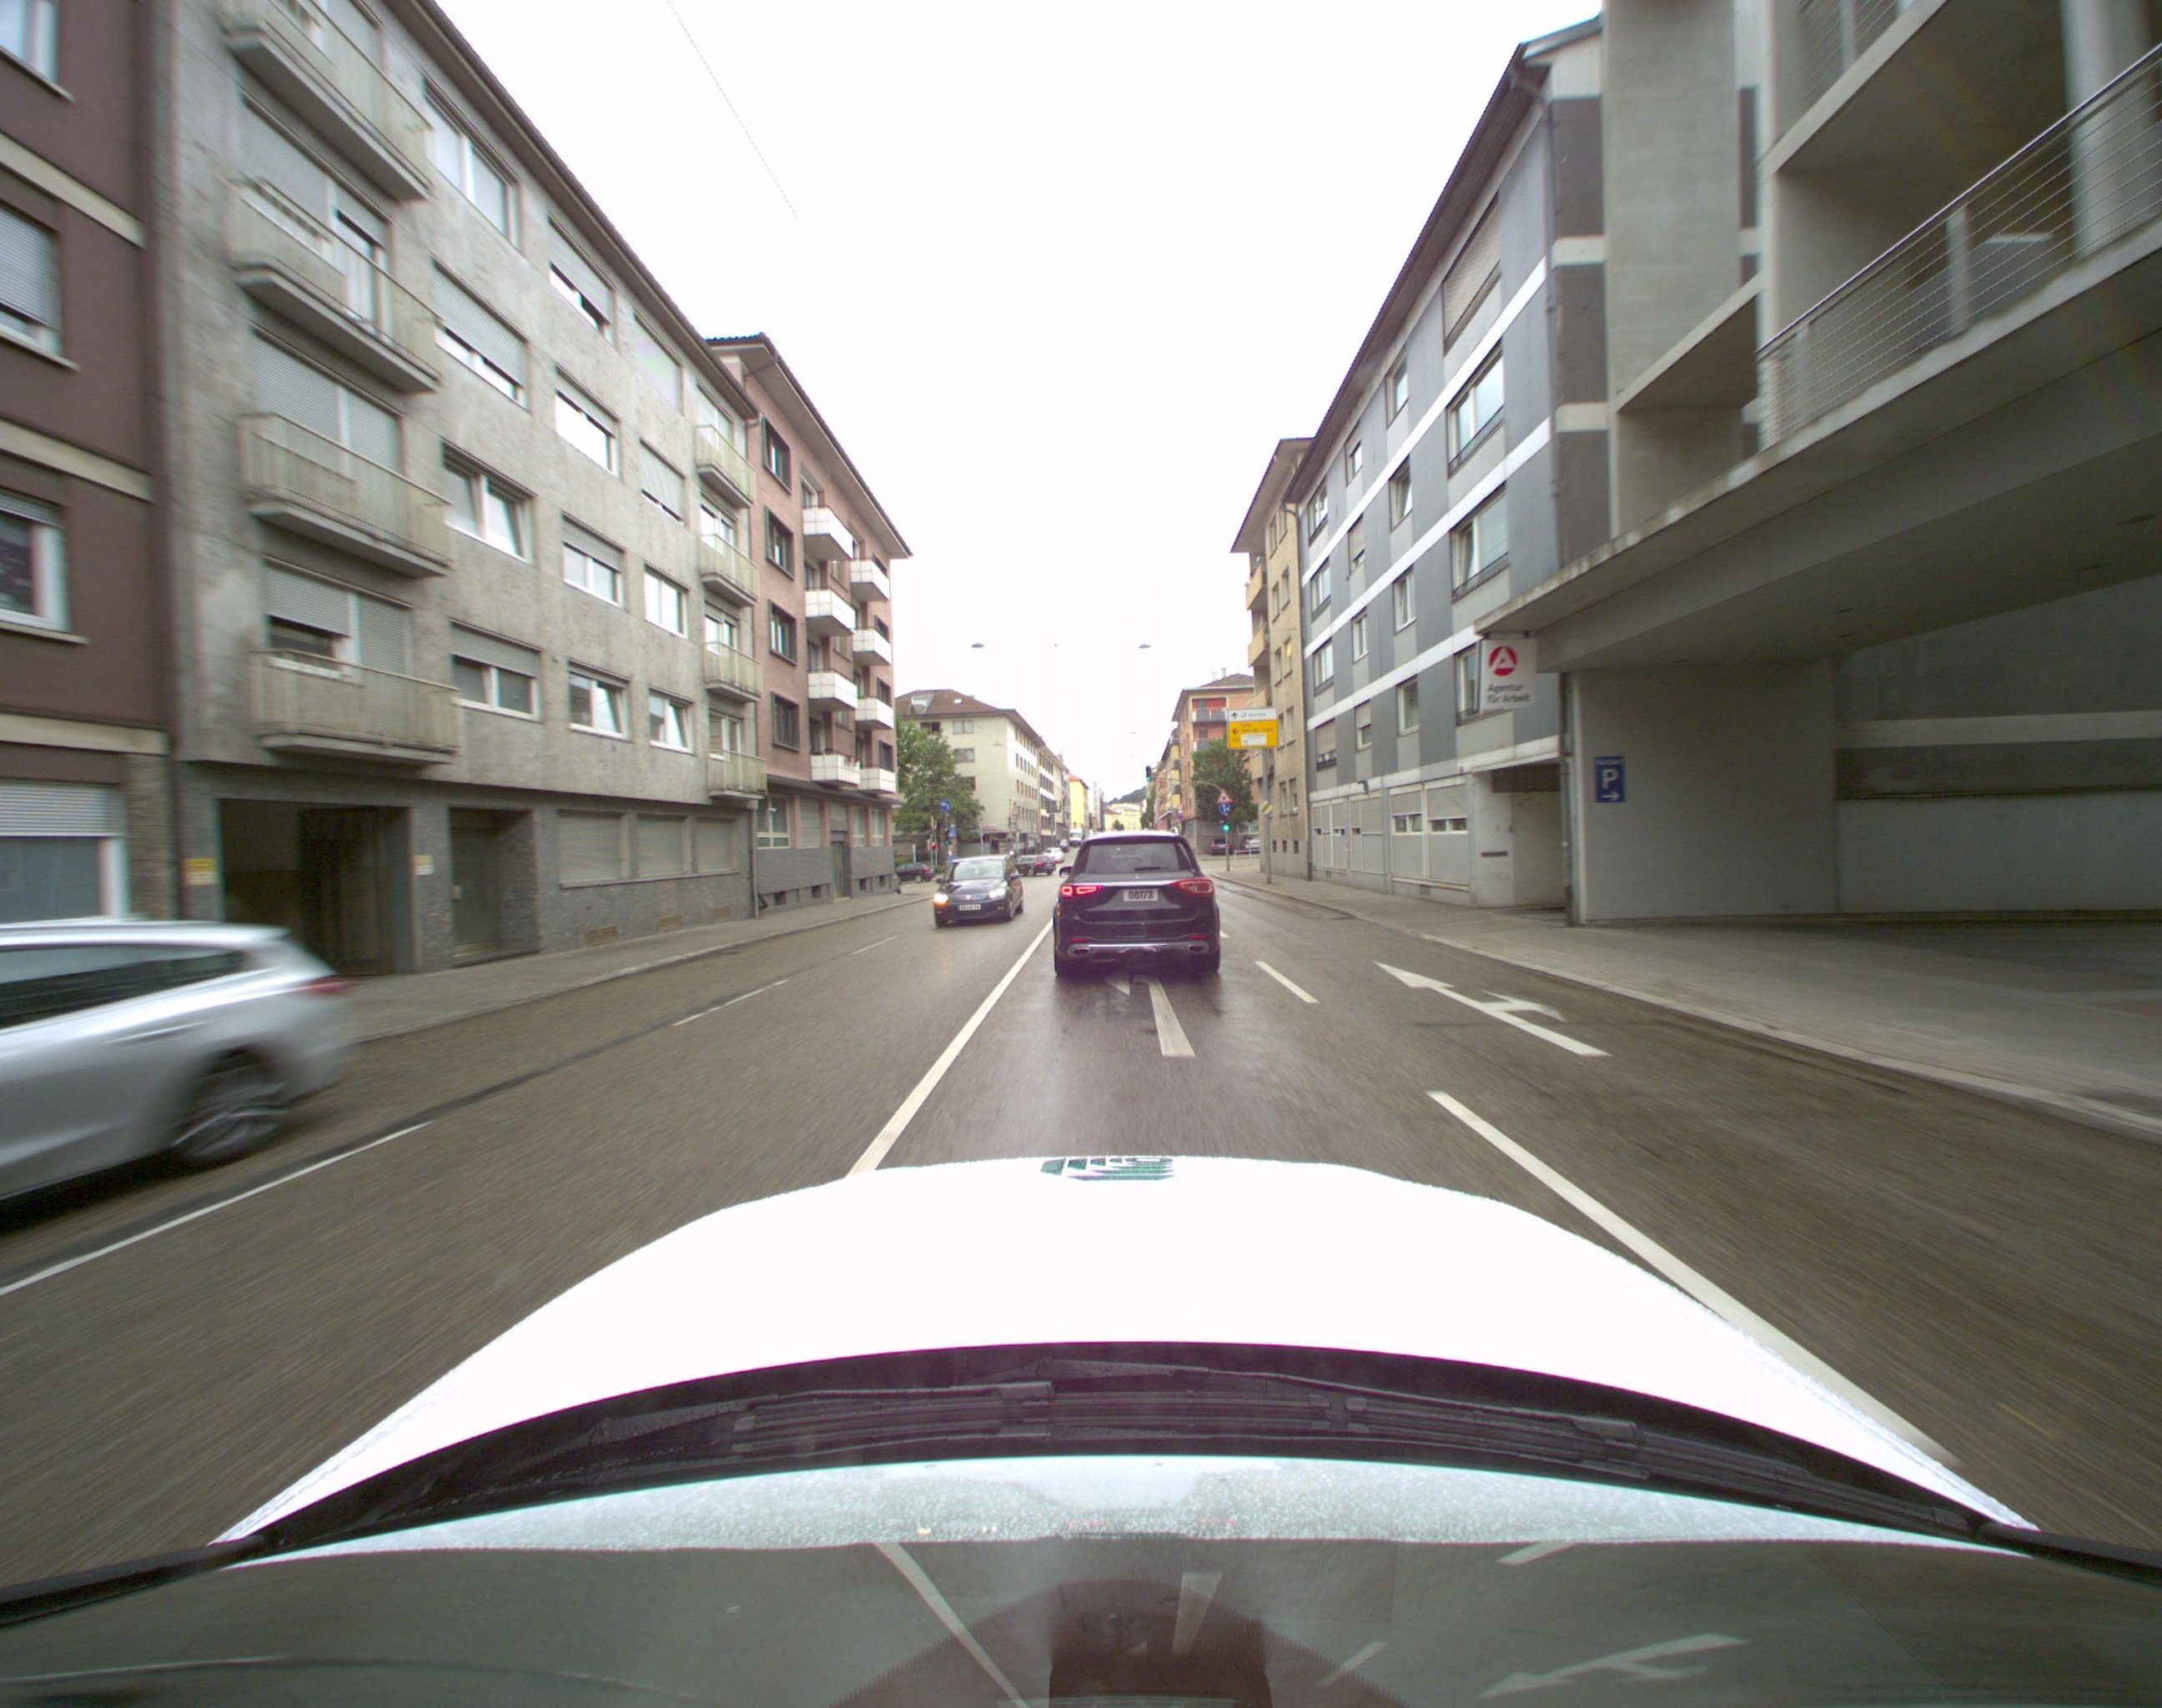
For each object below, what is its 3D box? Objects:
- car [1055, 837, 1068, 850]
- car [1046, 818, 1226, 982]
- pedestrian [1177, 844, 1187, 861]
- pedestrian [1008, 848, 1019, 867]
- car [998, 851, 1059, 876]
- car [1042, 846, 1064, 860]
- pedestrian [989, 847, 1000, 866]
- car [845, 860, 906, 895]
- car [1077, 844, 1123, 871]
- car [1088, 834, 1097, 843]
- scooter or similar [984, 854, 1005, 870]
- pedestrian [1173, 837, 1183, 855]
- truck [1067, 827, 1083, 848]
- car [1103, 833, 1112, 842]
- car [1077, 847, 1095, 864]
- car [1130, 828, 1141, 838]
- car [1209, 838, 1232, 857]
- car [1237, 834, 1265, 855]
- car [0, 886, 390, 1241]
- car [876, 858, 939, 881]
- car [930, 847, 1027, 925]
[{"bbox_3d":[-2.650,-1.379,110.970,1.613,1.539,4.217,-3,-1,0],"label":"car"},{"bbox_3d":[0.705,0.539,11.312,1.977,1.805,4.392,1,-1,2],"label":"car"},{"bbox_3d":[10.821,-0.200,87.096,0.920,1.804,0.706,-2,0,0],"label":"pedestrian"},{"bbox_3d":[-6.121,0.311,73.722,0.630,1.764,0.777,-2,0,19],"label":"pedestrian"},{"bbox_3d":[-3.734,0.702,57.530,4.303,1.539,1.789,-4,-1,42],"label":"car"},{"bbox_3d":[-2.742,-0.094,80.074,1.879,1.264,4.217,-3,-1,0],"label":"car"},{"bbox_3d":[-8.646,0.226,81.311,0.920,1.902,0.706,-2,0,0],"label":"pedestrian"},{"bbox_3d":[-10.898,1.208,43.550,1.986,1.673,4.261,-2,0,2],"label":"car"},{"bbox_3d":[1.151,0.248,50.815,1.776,1.539,3.741,-3,-1,-17],"label":"car"},{"bbox_3d":[2.446,-3.257,172.769,1.613,1.539,4.217,-3,-1,0],"label":"car"},{"bbox_3d":[-7.955,0.735,74.891,0.866,1.460,1.868,-2,0,36],"label":"scooter or similar"},{"bbox_3d":[10.812,-0.899,90.910,0.920,2.013,0.706,-2,0,0],"label":"pedestrian"},{"bbox_3d":[-0.936,-2.687,136.381,2.471,3.046,9.918,-3,-1,0],"label":"truck"},{"bbox_3d":[5.331,-3.351,166.197,1.613,1.539,4.217,-3,-1,0],"label":"car"},{"bbox_3d":[0.498,0.181,80.406,1.613,1.539,4.217,-3,-1,0],"label":"car"},{"bbox_3d":[10.996,-4.240,164.444,1.718,1.759,4.217,-3,1,0],"label":"car"},{"bbox_3d":[12.551,-0.593,73.409,1.663,1.588,3.334,-2,0,4],"label":"car"},{"bbox_3d":[15.260,-0.843,73.299,1.816,1.795,3.833,-2,0,1],"label":"car"},{"bbox_3d":[-5.768,1.015,3.519,1.766,1.539,4.358,-3,-1,0],"label":"car"},{"bbox_3d":[-13.299,1.192,62.450,4.313,1.539,1.785,-3,-1,14],"label":"car"},{"bbox_3d":[-2.462,0.713,20.586,1.766,1.645,4.412,-3,1,0],"label":"car"}]
